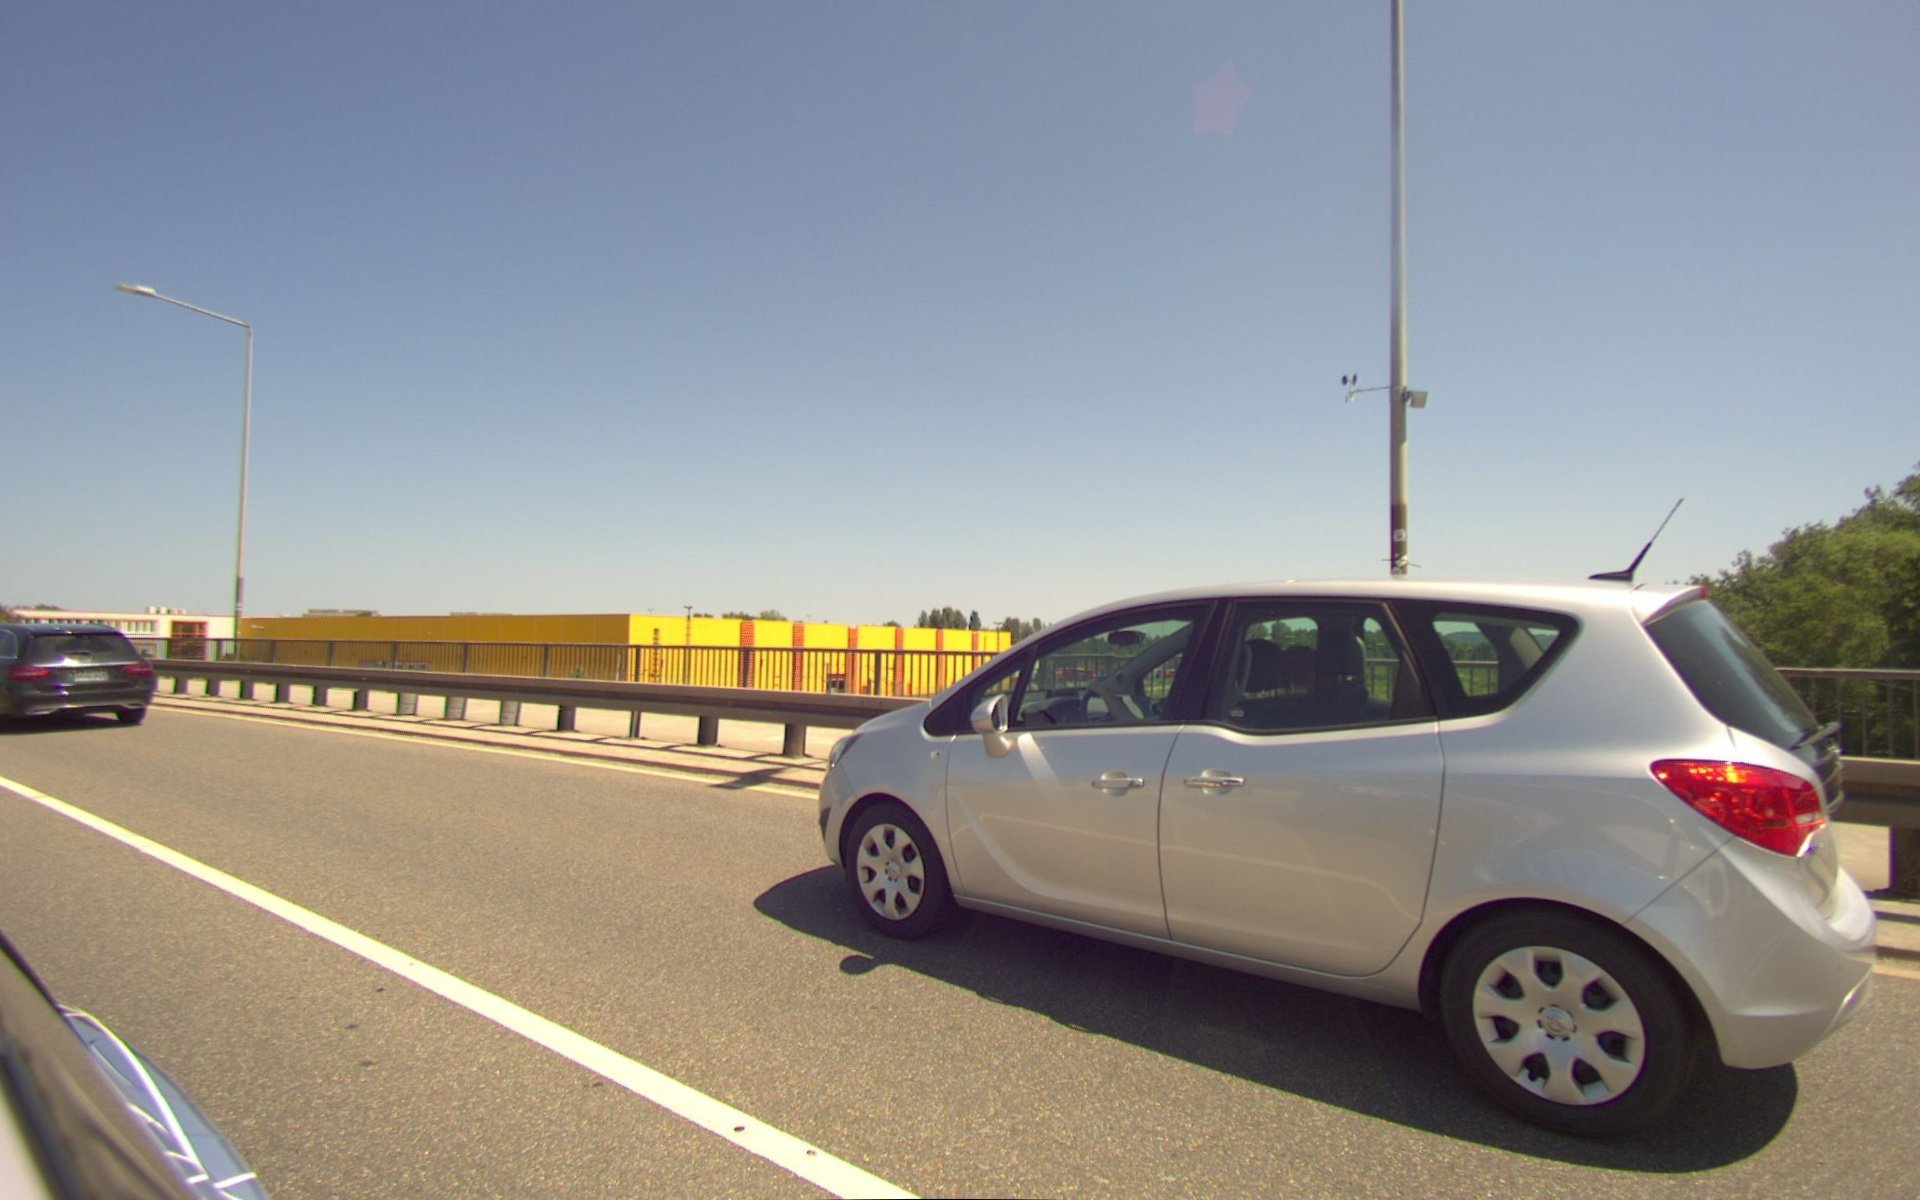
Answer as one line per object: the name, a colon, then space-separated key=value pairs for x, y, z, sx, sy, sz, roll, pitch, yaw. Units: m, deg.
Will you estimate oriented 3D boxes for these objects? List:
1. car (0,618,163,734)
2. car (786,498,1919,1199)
car: x=-13.438 y=1.001 z=14.588 sx=4.378 sy=1.449 sz=1.758 roll=-1 pitch=-1 yaw=33
car: x=1.334 y=0.610 z=4.040 sx=4.173 sy=1.592 sz=1.719 roll=-1 pitch=-2 yaw=40
